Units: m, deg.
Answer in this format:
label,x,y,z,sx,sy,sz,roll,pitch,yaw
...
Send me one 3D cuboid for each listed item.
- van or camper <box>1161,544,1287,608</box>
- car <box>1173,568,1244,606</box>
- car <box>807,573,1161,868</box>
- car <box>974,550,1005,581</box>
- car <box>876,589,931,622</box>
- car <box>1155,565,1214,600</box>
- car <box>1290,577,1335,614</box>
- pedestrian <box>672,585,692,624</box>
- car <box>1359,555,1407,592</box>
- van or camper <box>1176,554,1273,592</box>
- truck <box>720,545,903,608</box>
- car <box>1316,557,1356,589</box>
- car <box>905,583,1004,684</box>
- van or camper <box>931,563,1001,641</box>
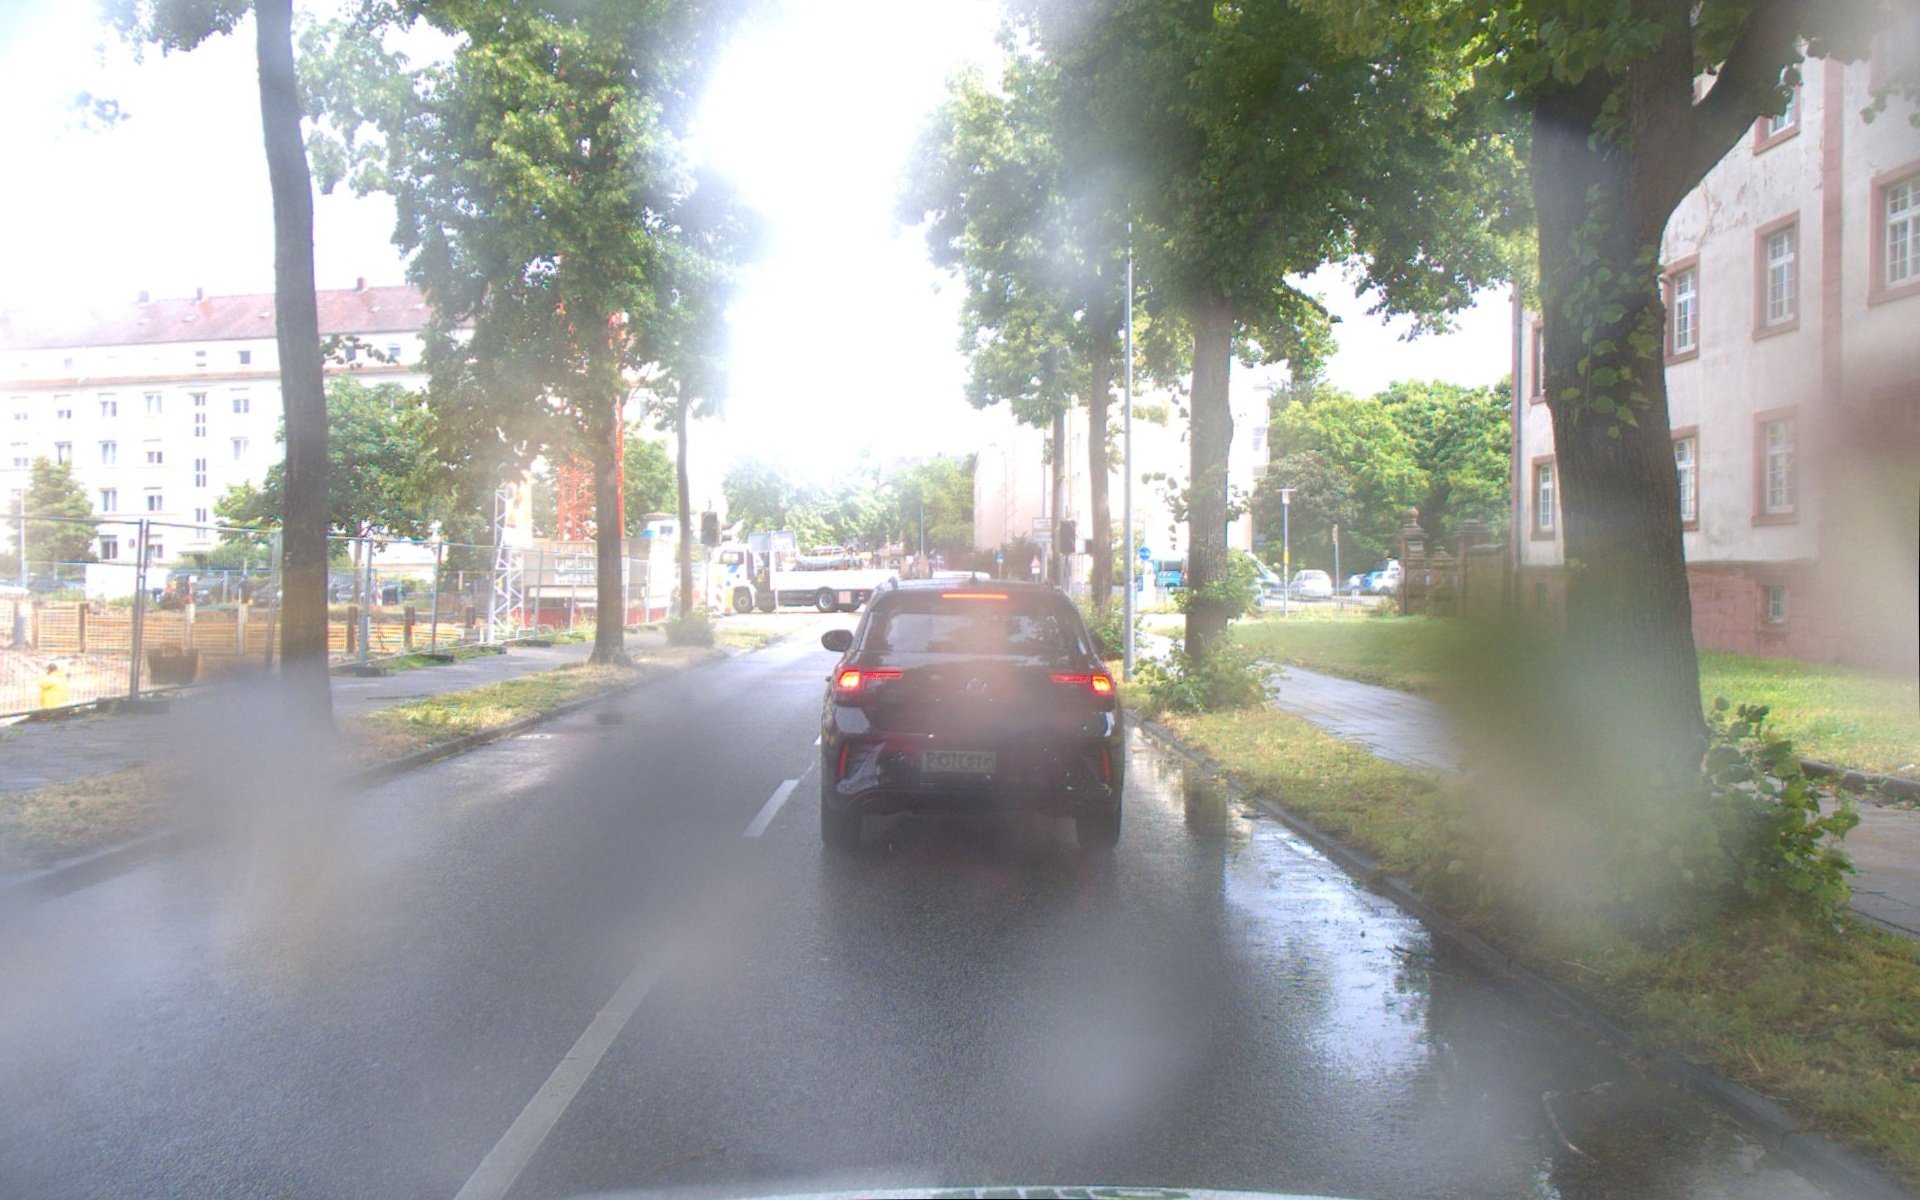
label,x,y,z,sx,sy,sz,roll,pitch,yaw
van or camper,11.134,-1.016,69.980,4.931,2.641,2.167,-1,0,-2
car,12.299,-0.659,82.020,3.335,1.812,1.761,-1,1,6
car,0.099,0.611,10.732,1.856,1.549,4.000,0,1,-1
car,2.041,-2.427,115.586,1.953,2.049,3.999,2,0,-1
car,-3.167,0.286,93.832,1.718,1.679,3.937,-3,1,20
car,13.208,-1.029,97.234,3.335,1.812,1.761,-3,0,8
car,17.730,-0.256,83.386,1.706,1.713,3.873,-3,0,5
pedestrian,-10.962,0.156,65.247,0.652,1.511,0.667,0,1,-25
car,25.347,-1.585,99.202,1.952,2.048,4.002,-3,0,3
van or camper,13.964,-1.441,87.479,4.775,1.959,2.131,0,1,0
truck,-6.776,-1.123,75.087,8.054,2.703,2.812,1,2,27
car,23.823,-1.691,104.929,1.828,1.889,3.811,-3,0,3
car,-0.048,0.595,31.636,1.645,1.738,3.911,-3,0,2
van or camper,0.192,0.020,44.699,1.782,1.981,4.195,1,1,1
